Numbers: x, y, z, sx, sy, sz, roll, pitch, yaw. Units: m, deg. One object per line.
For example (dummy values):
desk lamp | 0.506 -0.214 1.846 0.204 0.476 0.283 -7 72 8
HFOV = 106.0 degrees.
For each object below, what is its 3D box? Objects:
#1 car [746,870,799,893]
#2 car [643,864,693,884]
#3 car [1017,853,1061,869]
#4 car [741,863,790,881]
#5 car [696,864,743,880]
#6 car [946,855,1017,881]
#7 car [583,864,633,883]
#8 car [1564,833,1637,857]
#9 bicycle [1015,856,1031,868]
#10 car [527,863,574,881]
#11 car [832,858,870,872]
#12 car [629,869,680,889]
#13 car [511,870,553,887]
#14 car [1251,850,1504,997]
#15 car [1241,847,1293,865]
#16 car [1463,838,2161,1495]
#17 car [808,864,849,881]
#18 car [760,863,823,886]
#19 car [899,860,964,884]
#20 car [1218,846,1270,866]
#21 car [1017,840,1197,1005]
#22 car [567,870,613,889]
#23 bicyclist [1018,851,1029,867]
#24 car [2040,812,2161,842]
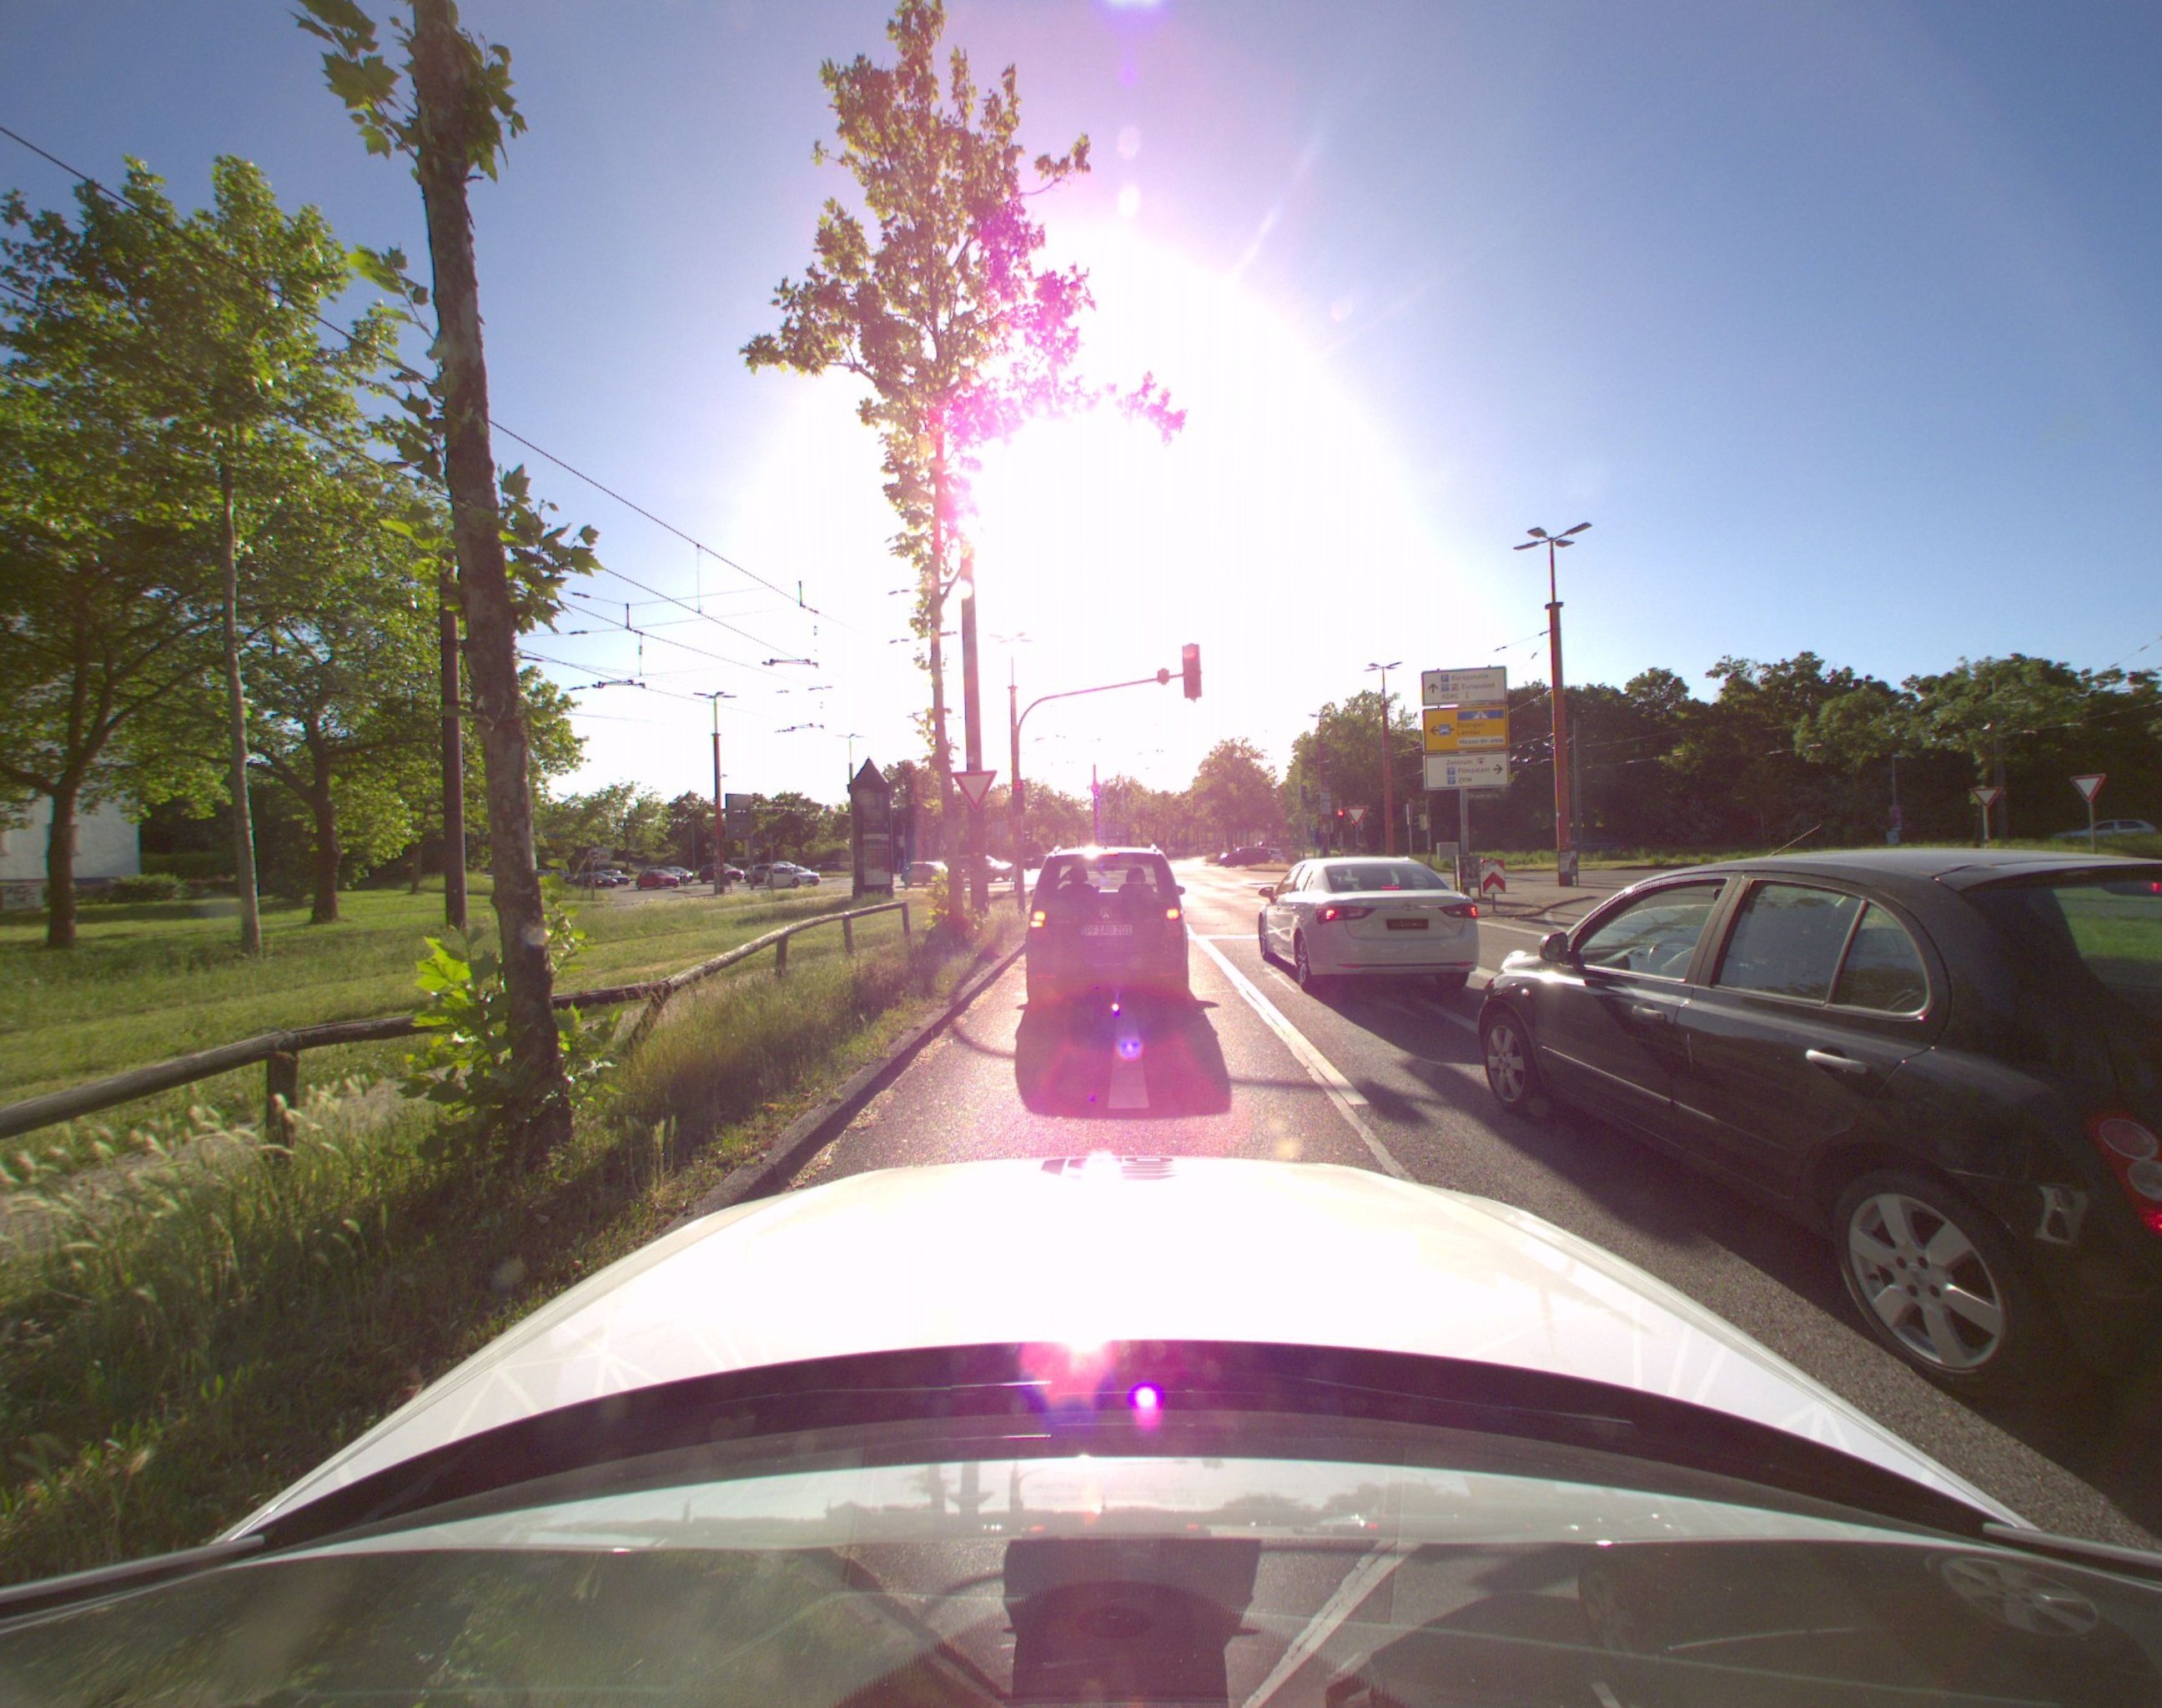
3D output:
car | -24.097 2.112 63.488 4.285 1.692 1.667 -1 0 34
car | -36.022 1.712 71.044 4.583 1.647 1.767 -1 0 32
car | -4.050 0.648 78.459 3.877 1.457 1.667 -1 0 28
car | -26.834 1.523 69.194 4.102 1.415 1.553 -1 0 28
car | -32.018 1.595 72.107 4.102 1.415 1.553 -1 0 28
car | -6.625 0.909 53.963 4.583 1.647 1.667 -1 0 32
car | -43.905 1.823 75.563 4.585 1.647 1.767 -1 0 26
car | 35.575 -0.618 55.881 4.095 1.510 1.667 -1 0 30
bicycle | -7.003 1.012 98.558 0.969 1.388 2.991 -2 0 15
car | -51.962 1.758 79.799 4.585 1.647 1.767 -1 0 26
car | -25.445 1.205 90.130 3.877 1.457 1.667 -1 0 28
car | -34.141 1.968 65.186 4.145 1.520 1.667 -1 0 32
car | -50.481 2.235 74.879 4.145 1.520 1.667 -1 0 32
car | 3.369 0.706 10.194 1.792 1.440 4.329 0 0 3
car | 15.443 0.185 67.681 3.877 1.457 1.667 -1 0 28
car | 3.176 0.693 3.496 1.570 1.440 3.443 0 -1 2
car | -26.653 1.957 85.951 4.164 1.681 1.667 -1 0 28
car | -20.547 1.453 57.717 4.577 1.520 1.667 -1 0 32
car | -9.376 1.144 51.130 3.793 1.441 1.667 -1 0 29
car | 12.989 0.191 64.891 3.757 1.510 1.666 -1 0 25
car | 0.362 0.687 10.089 1.731 1.602 4.329 0 -1 3
car | -42.369 2.173 70.244 4.145 1.520 1.667 -1 0 32
bicyclist | -7.002 0.636 98.601 0.969 1.904 1.055 -2 0 14
car | 55.897 -1.461 44.748 3.755 1.510 1.667 -1 0 30
